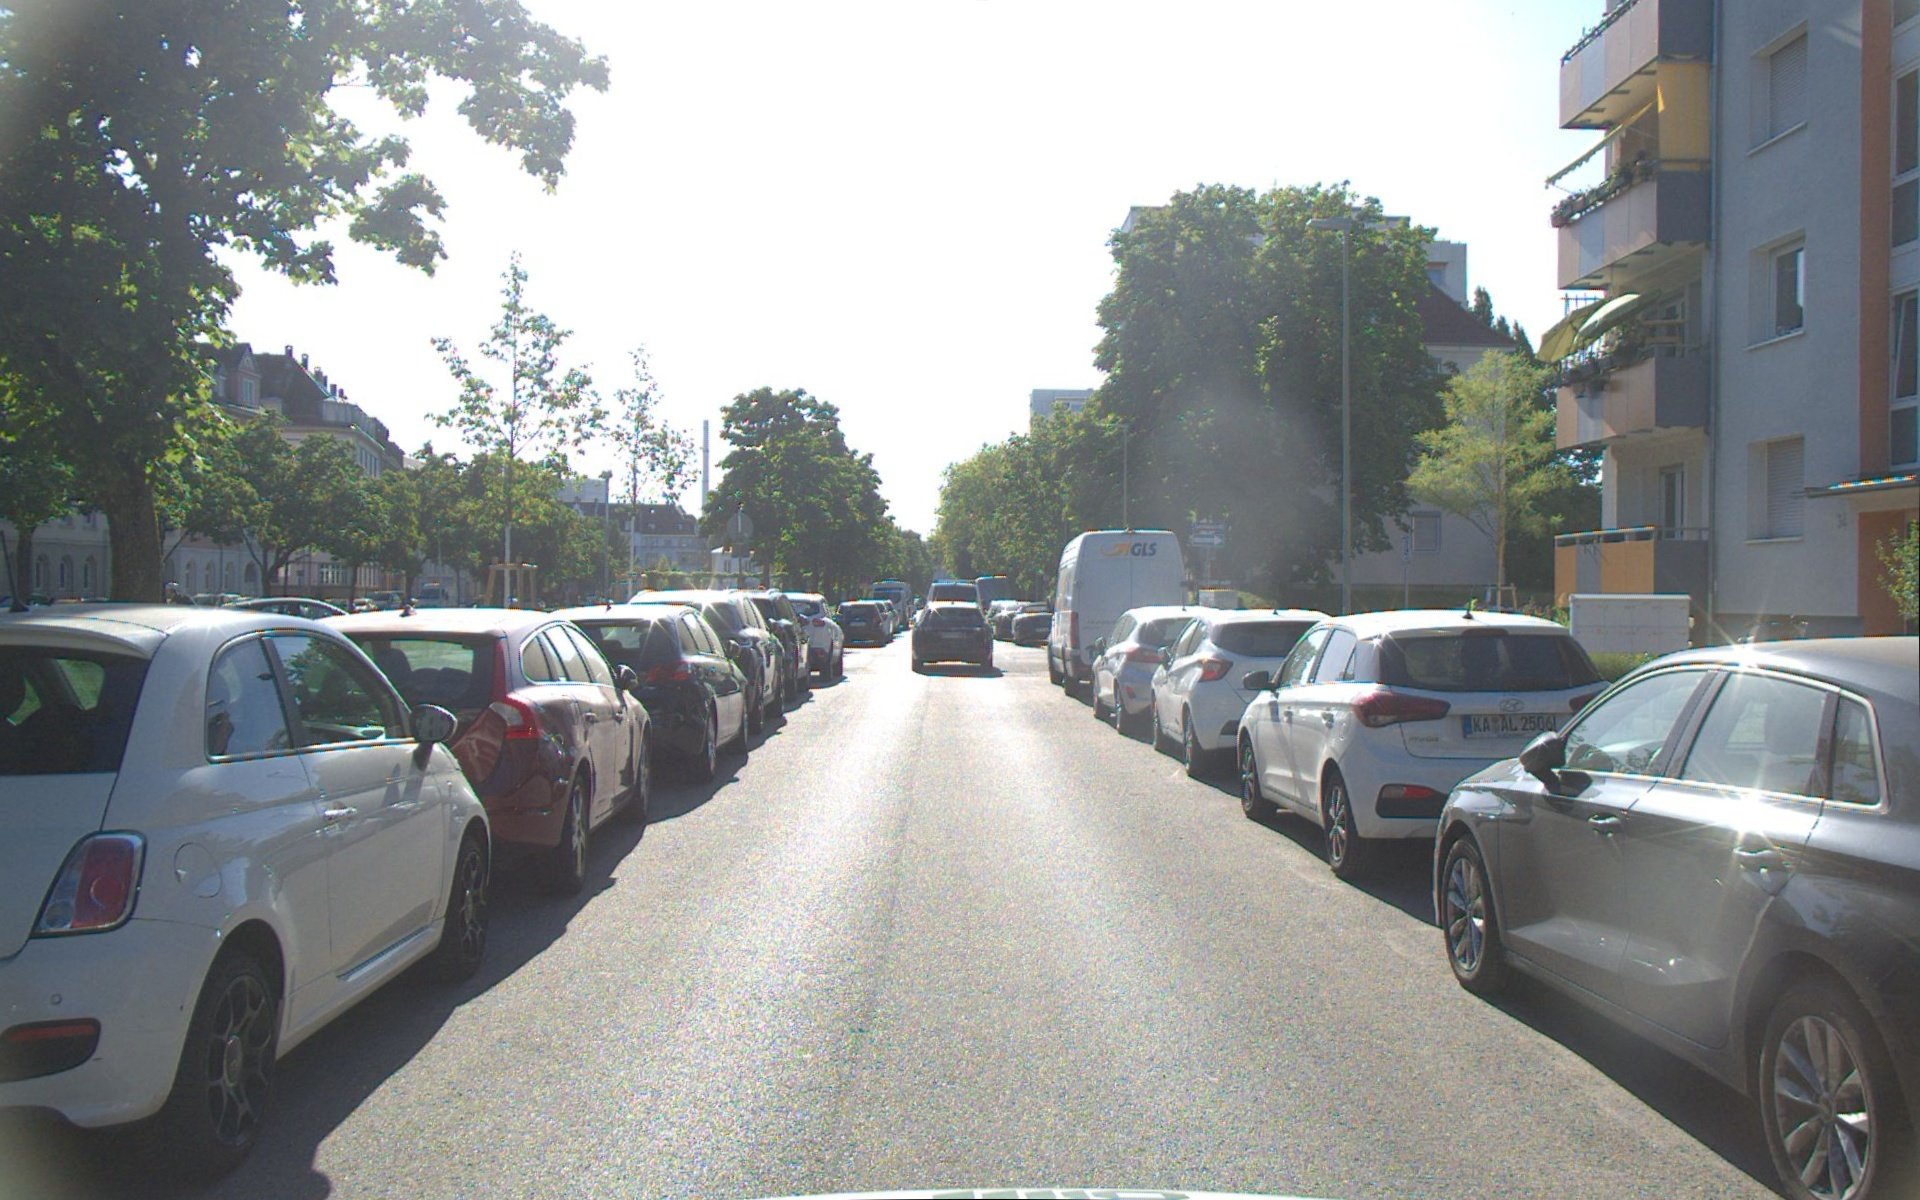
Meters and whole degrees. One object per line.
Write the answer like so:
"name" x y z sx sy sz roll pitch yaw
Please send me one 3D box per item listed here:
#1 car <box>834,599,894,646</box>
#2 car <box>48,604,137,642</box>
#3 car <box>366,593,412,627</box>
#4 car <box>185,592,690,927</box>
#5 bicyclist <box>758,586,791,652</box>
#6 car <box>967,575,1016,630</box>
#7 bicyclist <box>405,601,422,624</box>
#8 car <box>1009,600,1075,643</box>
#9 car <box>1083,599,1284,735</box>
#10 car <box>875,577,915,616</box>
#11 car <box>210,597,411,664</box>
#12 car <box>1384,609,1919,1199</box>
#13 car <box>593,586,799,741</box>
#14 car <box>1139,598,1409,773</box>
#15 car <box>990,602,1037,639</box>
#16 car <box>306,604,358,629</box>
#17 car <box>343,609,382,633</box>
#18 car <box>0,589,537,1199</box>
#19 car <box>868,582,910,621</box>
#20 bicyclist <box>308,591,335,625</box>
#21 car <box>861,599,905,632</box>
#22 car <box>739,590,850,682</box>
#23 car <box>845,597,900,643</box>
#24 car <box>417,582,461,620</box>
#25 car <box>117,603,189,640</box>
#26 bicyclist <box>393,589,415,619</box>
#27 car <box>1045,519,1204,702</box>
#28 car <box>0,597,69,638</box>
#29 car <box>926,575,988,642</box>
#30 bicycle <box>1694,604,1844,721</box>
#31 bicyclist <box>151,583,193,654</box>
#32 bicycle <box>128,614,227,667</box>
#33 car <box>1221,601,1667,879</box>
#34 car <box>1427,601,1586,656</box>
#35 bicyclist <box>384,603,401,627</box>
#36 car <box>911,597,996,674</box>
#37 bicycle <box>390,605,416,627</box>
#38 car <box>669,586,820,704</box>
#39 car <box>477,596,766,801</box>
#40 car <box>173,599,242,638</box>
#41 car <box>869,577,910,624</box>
"car" -3.160 0.741 54.935 1.712 1.449 3.916 -2 -1 0
"car" -38.170 0.989 72.891 1.721 1.576 4.525 0 0 -3
"car" -38.917 0.661 112.787 1.660 2.252 5.005 0 0 -3
"car" -2.825 0.740 10.081 1.720 1.518 4.666 -2 0 -2
"bicyclist" -4.640 0.476 41.372 0.773 1.624 0.696 0 0 -4
"car" 1.588 0.121 86.249 2.120 2.736 5.412 0 0 -4
"bicyclist" -33.998 0.788 102.934 0.723 1.463 0.942 -1 -1 -1
"car" 2.868 0.733 58.768 2.082 1.361 4.506 -2 0 0
"car" 2.712 0.765 20.981 1.812 1.491 4.200 1 0 -2
"car" -4.570 -0.235 117.498 2.563 2.691 6.114 0 0 0
"car" -15.160 0.685 38.618 4.279 1.433 1.906 0 2 -26
"car" 2.904 0.796 5.491 1.665 1.460 4.469 -1 0 -2
"car" -3.088 0.683 20.276 1.782 1.638 4.738 -1 0 -1
"car" 2.924 0.732 16.299 1.839 1.501 4.139 0 0 -1
"car" 2.062 0.782 64.710 1.743 1.395 4.126 0 0 0
"car" -38.903 1.018 102.504 1.808 1.465 3.774 0 0 -1
"car" -38.644 1.353 107.024 1.487 1.465 3.230 0 0 -3
"car" -2.646 0.753 5.641 1.554 1.518 3.684 -2 0 -2
"car" -3.639 0.089 85.645 2.056 1.976 4.126 0 0 -1
"bicyclist" -35.137 0.459 91.060 0.922 1.869 1.449 -1 -1 -1
"car" -3.572 0.704 77.177 1.795 1.526 4.126 0 0 0
"car" -3.212 0.666 32.874 1.720 1.676 4.287 -1 0 0
"car" -3.112 0.714 59.458 1.741 1.521 3.874 -2 -1 0
"car" -39.399 0.082 125.234 1.877 2.792 5.621 0 0 -3
"car" -38.241 0.990 78.443 1.599 1.716 4.078 0 0 -3
"bicyclist" -35.309 0.279 104.991 0.922 1.869 1.449 -1 -1 -2
"car" 2.708 0.155 28.953 2.098 2.760 6.841 -1 0 0
"car" -37.807 0.684 66.722 1.599 1.576 4.352 0 0 -3
"car" -0.076 0.257 52.711 1.855 2.026 4.010 -1 0 0
"bicycle" 8.784 0.670 18.050 0.584 1.197 2.013 0 -2 -2
"bicyclist" -19.225 0.447 40.355 0.863 1.720 0.628 0 0 -21
"bicycle" -19.088 0.978 40.405 2.116 1.280 0.710 0 0 -21
"car" 2.921 0.749 10.922 1.686 1.461 4.152 0 0 -1
"car" 14.915 0.761 45.229 3.810 1.454 1.657 0 0 -5
"bicyclist" -35.183 0.939 102.560 0.723 1.463 0.942 0 0 -1
"car" -0.113 0.739 36.587 1.743 1.558 4.000 1 0 0
"bicycle" -35.366 1.011 104.974 0.794 1.274 2.633 2 -2 -2
"car" -3.325 0.657 26.360 1.805 1.667 4.714 -1 0 -1
"car" -2.924 0.768 15.249 1.836 1.546 4.468 -2 0 -2
"car" -38.392 0.918 84.487 1.702 1.941 4.458 0 0 -3
"car" -3.888 0.010 92.052 2.055 2.540 4.126 0 0 0
